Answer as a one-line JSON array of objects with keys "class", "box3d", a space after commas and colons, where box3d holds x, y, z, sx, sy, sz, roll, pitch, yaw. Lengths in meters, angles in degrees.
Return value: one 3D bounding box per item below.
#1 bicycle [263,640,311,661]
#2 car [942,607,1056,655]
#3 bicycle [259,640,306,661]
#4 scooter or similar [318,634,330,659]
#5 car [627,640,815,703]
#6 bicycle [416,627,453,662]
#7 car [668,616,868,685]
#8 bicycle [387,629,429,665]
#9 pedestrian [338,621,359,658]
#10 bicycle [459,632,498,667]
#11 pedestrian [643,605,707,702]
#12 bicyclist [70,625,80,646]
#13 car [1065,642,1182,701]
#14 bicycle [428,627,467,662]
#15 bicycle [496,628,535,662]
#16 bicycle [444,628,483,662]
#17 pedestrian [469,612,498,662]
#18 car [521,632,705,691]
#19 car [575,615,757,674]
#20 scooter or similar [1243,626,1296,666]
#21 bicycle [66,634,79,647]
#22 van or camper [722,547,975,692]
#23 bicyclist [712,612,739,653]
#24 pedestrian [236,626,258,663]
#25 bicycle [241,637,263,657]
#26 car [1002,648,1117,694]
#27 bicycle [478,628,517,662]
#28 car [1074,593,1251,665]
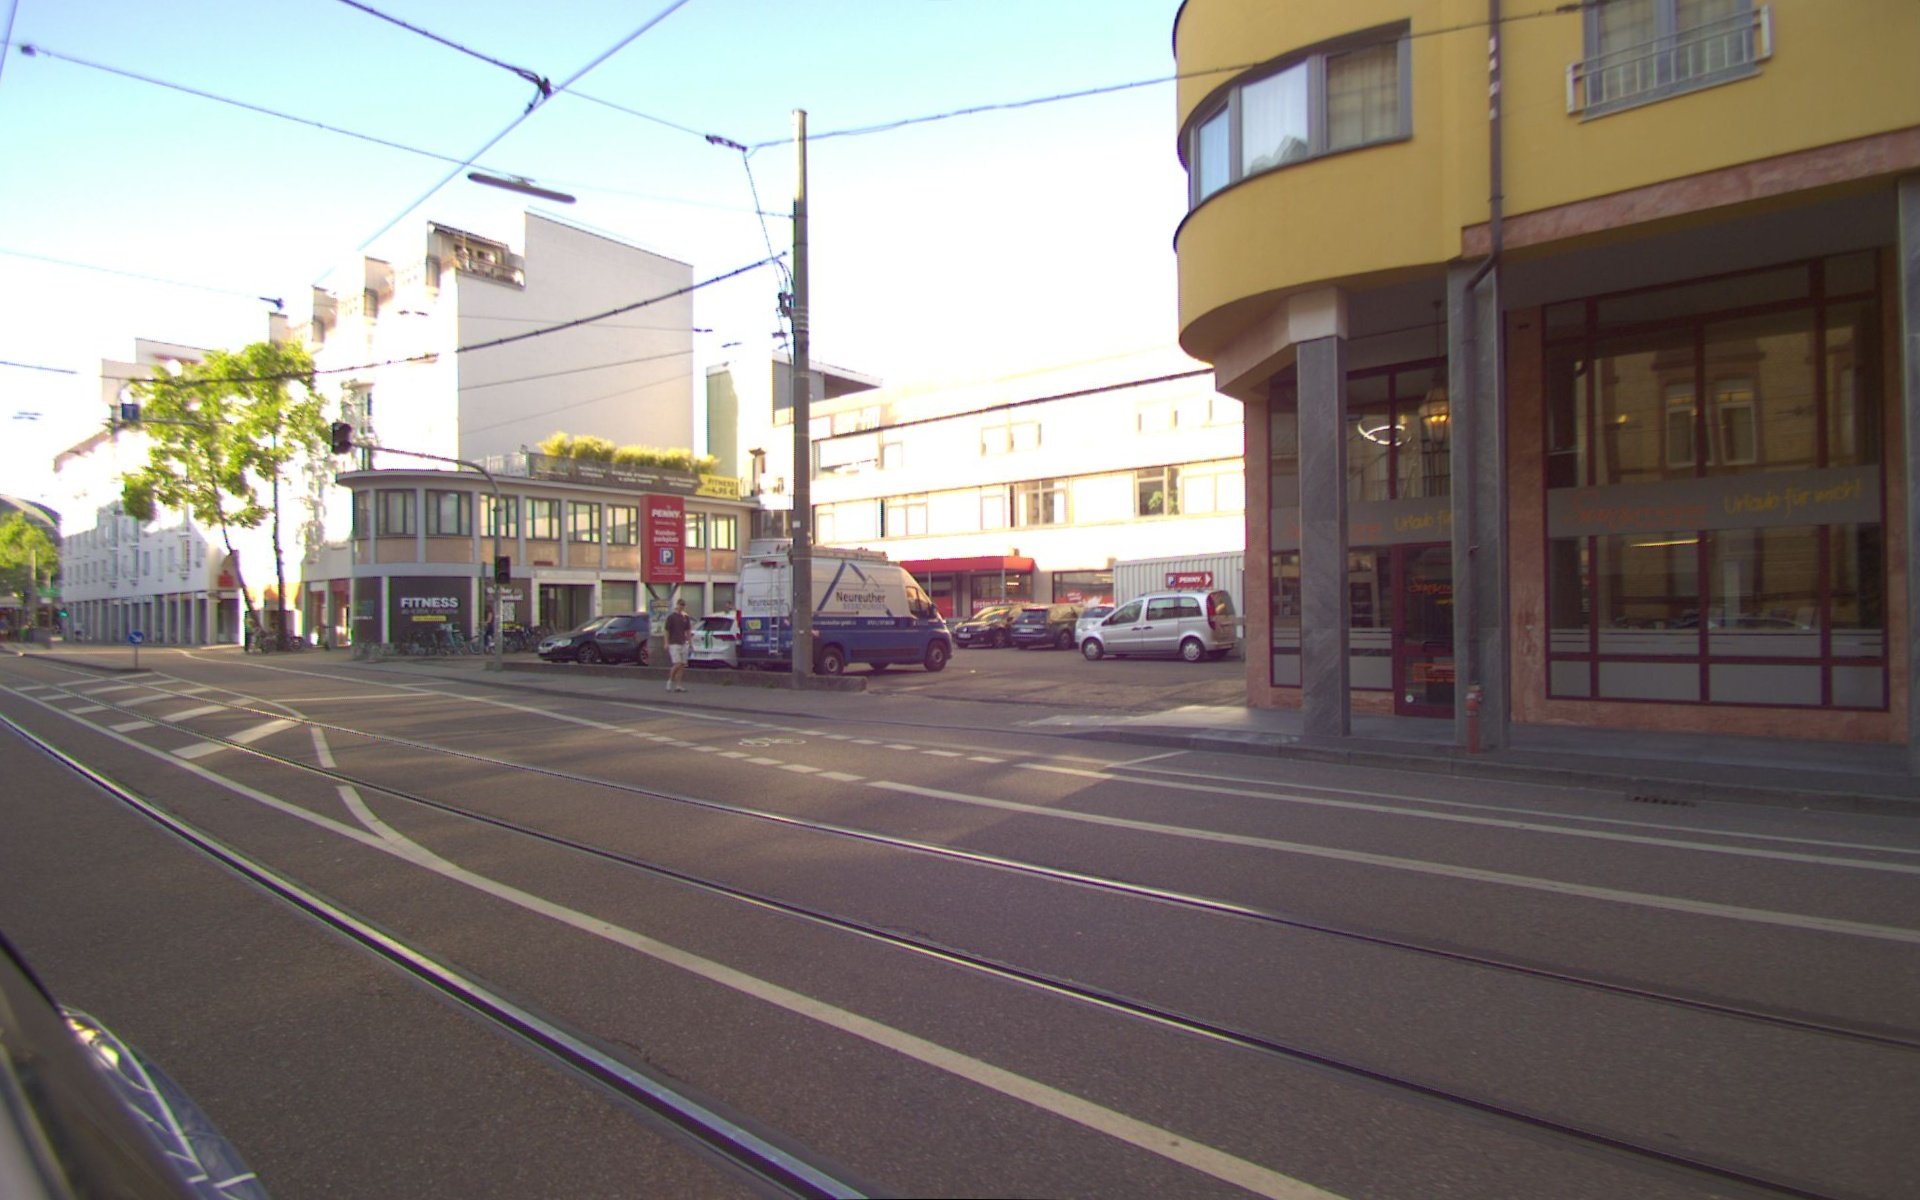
[{"class": "bicycle", "box3d": [-31.640, 2.348, 47.602, 0.389, 0.919, 1.824, -2, -2, 45]}, {"class": "car", "box3d": [1.385, 1.078, 34.393, 1.997, 1.519, 3.950, -2, -3, 37]}, {"class": "bicycle", "box3d": [-32.336, 2.410, 48.331, 0.389, 0.919, 1.824, -5, -4, 45]}, {"class": "scooter or similar", "box3d": [-29.957, 2.188, 47.671, 0.330, 1.120, 1.183, 1, -2, -27]}, {"class": "car", "box3d": [-6.073, 1.797, 26.184, 1.878, 1.487, 4.542, -3, -4, 40]}, {"class": "bicycle", "box3d": [-18.125, 1.539, 34.883, 1.829, 1.196, 0.436, -3, -4, 39]}, {"class": "car", "box3d": [-4.478, 1.196, 24.199, 1.878, 1.487, 4.542, -3, -4, 40]}, {"class": "bicycle", "box3d": [-19.048, 1.623, 34.916, 1.826, 1.196, 0.442, -2, -4, 34]}, {"class": "pedestrian", "box3d": [-28.479, 1.843, 47.167, 0.621, 1.729, 0.827, 1, -3, -16]}, {"class": "bicycle", "box3d": [-17.007, 1.757, 35.733, 1.828, 1.196, 0.444, -3, -4, 37]}, {"class": "pedestrian", "box3d": [-5.584, 1.051, 19.846, 0.908, 1.846, 0.825, -3, -4, 39]}, {"class": "bicyclist", "box3d": [-71.323, 2.867, 81.549, 0.807, 1.713, 0.508, -2, -2, 40]}, {"class": "car", "box3d": [5.184, 2.173, 31.710, 1.997, 1.713, 3.950, -2, -3, 37]}, {"class": "bicycle", "box3d": [-17.874, 1.570, 35.288, 1.828, 1.196, 0.444, -3, -4, 37]}, {"class": "bicycle", "box3d": [-16.046, 1.632, 36.490, 1.828, 1.196, 0.444, -3, -4, 37]}, {"class": "bicycle", "box3d": [-17.405, 1.585, 35.496, 1.828, 1.196, 0.439, -3, -4, 37]}, {"class": "pedestrian", "box3d": [-16.703, 1.309, 35.463, 0.682, 1.710, 0.674, -3, -4, 38]}, {"class": "car", "box3d": [-10.019, 1.767, 29.575, 1.878, 1.595, 4.845, -3, -4, 40]}, {"class": "car", "box3d": [-7.992, 1.233, 27.862, 1.878, 1.487, 4.542, -3, -4, 40]}, {"class": "scooter or similar", "box3d": [7.700, 1.144, 25.168, 0.847, 0.962, 1.274, -2, -3, 37]}, {"class": "bicycle", "box3d": [-71.444, 3.235, 81.457, 1.726, 0.996, 0.512, -2, -2, 41]}, {"class": "van or camper", "box3d": [-2.355, 0.409, 22.807, 2.313, 2.848, 5.549, -3, -1, 40]}, {"class": "bicyclist", "box3d": [-9.158, 1.275, 39.519, 0.687, 1.561, 0.831, -2, -3, 23]}, {"class": "pedestrian", "box3d": [-33.686, 2.097, 47.823, 0.621, 1.729, 0.827, 1, -3, -23]}, {"class": "bicycle", "box3d": [-33.227, 2.215, 47.498, 1.850, 0.919, 0.384, -2, -2, 41]}, {"class": "car", "box3d": [3.312, 2.288, 33.201, 1.997, 1.364, 3.950, -2, -3, 37]}, {"class": "bicycle", "box3d": [-16.509, 1.613, 36.105, 1.828, 1.196, 0.444, -3, -4, 37]}, {"class": "car", "box3d": [5.261, 0.796, 26.517, 4.115, 1.749, 1.974, -2, -3, 38]}]
